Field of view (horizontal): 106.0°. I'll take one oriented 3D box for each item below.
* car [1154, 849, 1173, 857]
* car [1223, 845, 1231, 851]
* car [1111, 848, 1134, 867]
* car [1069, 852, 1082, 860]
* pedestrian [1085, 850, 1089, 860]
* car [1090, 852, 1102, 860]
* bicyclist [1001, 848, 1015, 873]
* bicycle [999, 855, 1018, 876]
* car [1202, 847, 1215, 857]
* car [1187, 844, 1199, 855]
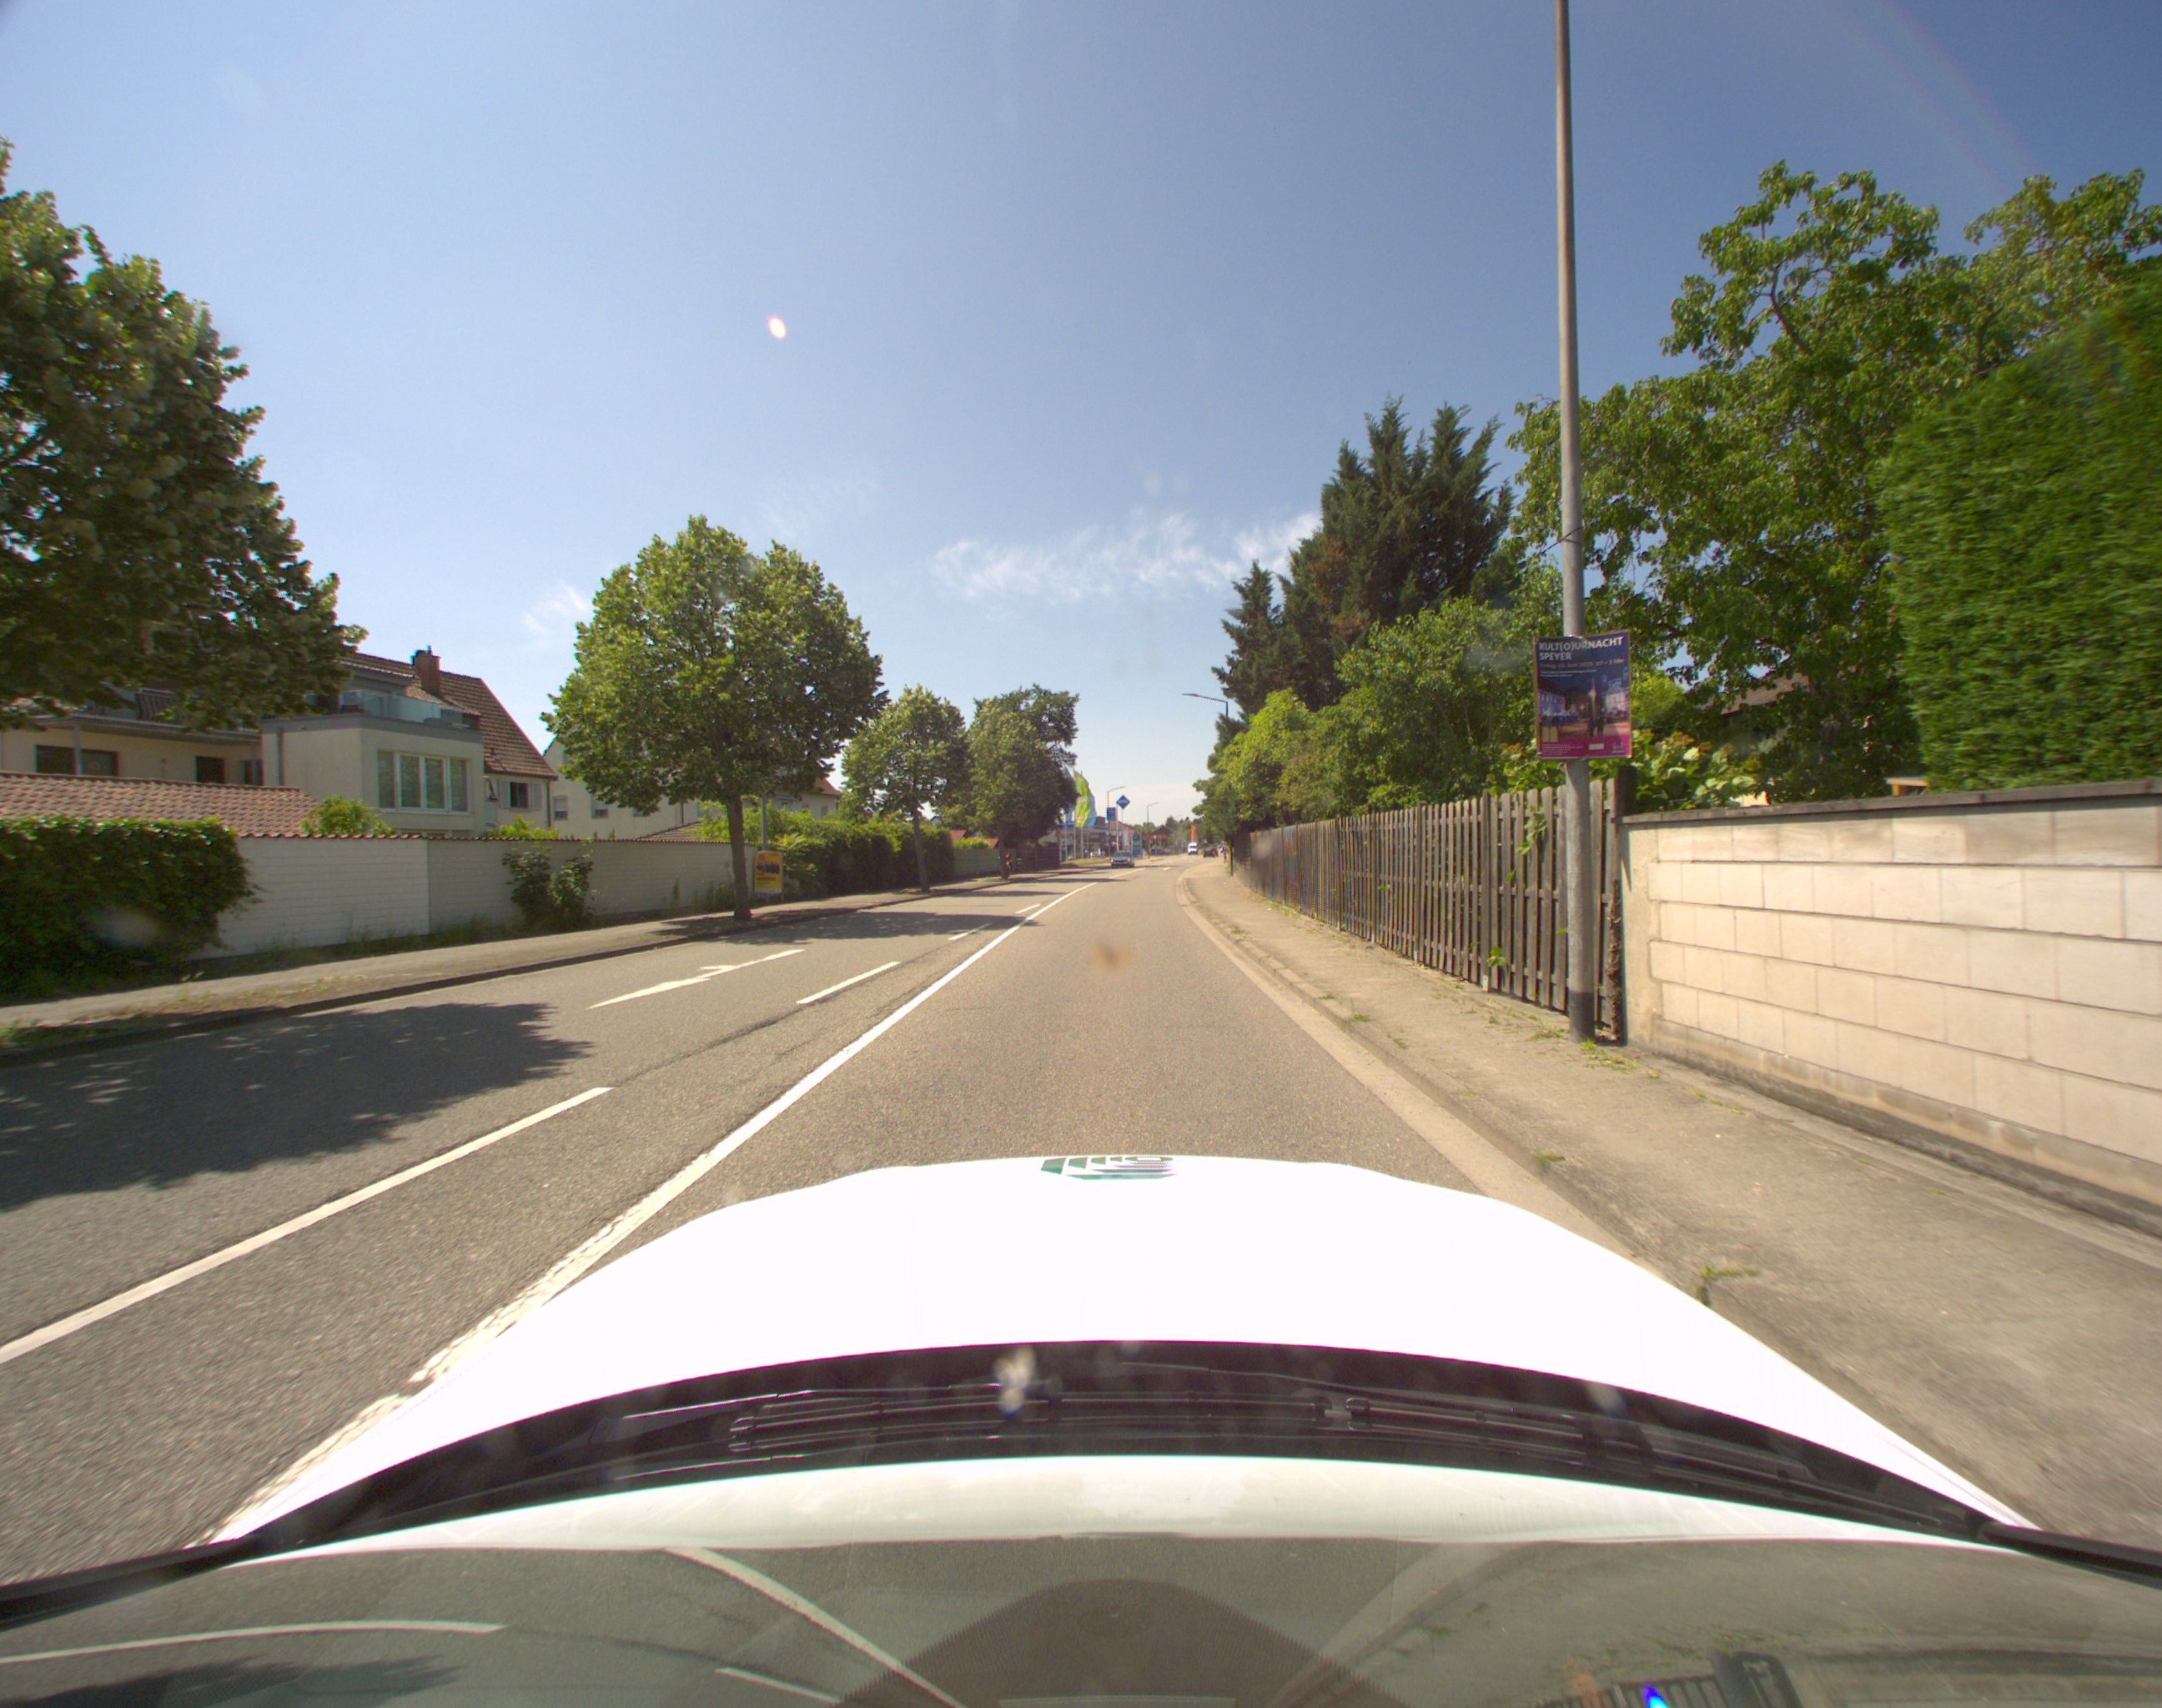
[{"bbox_3d":[17.844,-0.231,175.229,3.964,1.508,1.558,-2,0,8],"label":"car"},{"bbox_3d":[35.644,-1.533,198.697,1.654,1.455,3.483,-2,0,11],"label":"car"},{"bbox_3d":[3.502,0.274,68.706,1.603,1.482,3.716,-2,0,8],"label":"car"},{"bbox_3d":[-0.978,0.358,147.160,1.608,1.420,3.719,-3,0,7],"label":"car"},{"bbox_3d":[1.128,0.185,148.375,0.612,1.691,0.705,-2,0,-15],"label":"pedestrian"},{"bbox_3d":[2.673,0.344,146.905,1.608,1.420,3.719,-3,0,7],"label":"car"},{"bbox_3d":[-4.210,0.397,47.217,0.625,1.408,0.678,-2,0,7],"label":"bicyclist"},{"bbox_3d":[-4.194,0.649,47.264,0.629,1.180,1.820,-2,0,7],"label":"bicycle"},{"bbox_3d":[19.401,-0.273,123.843,1.654,1.455,3.483,-2,0,11],"label":"car"},{"bbox_3d":[24.687,-0.976,178.993,1.979,2.423,5.969,0,-1,14],"label":"car"}]
